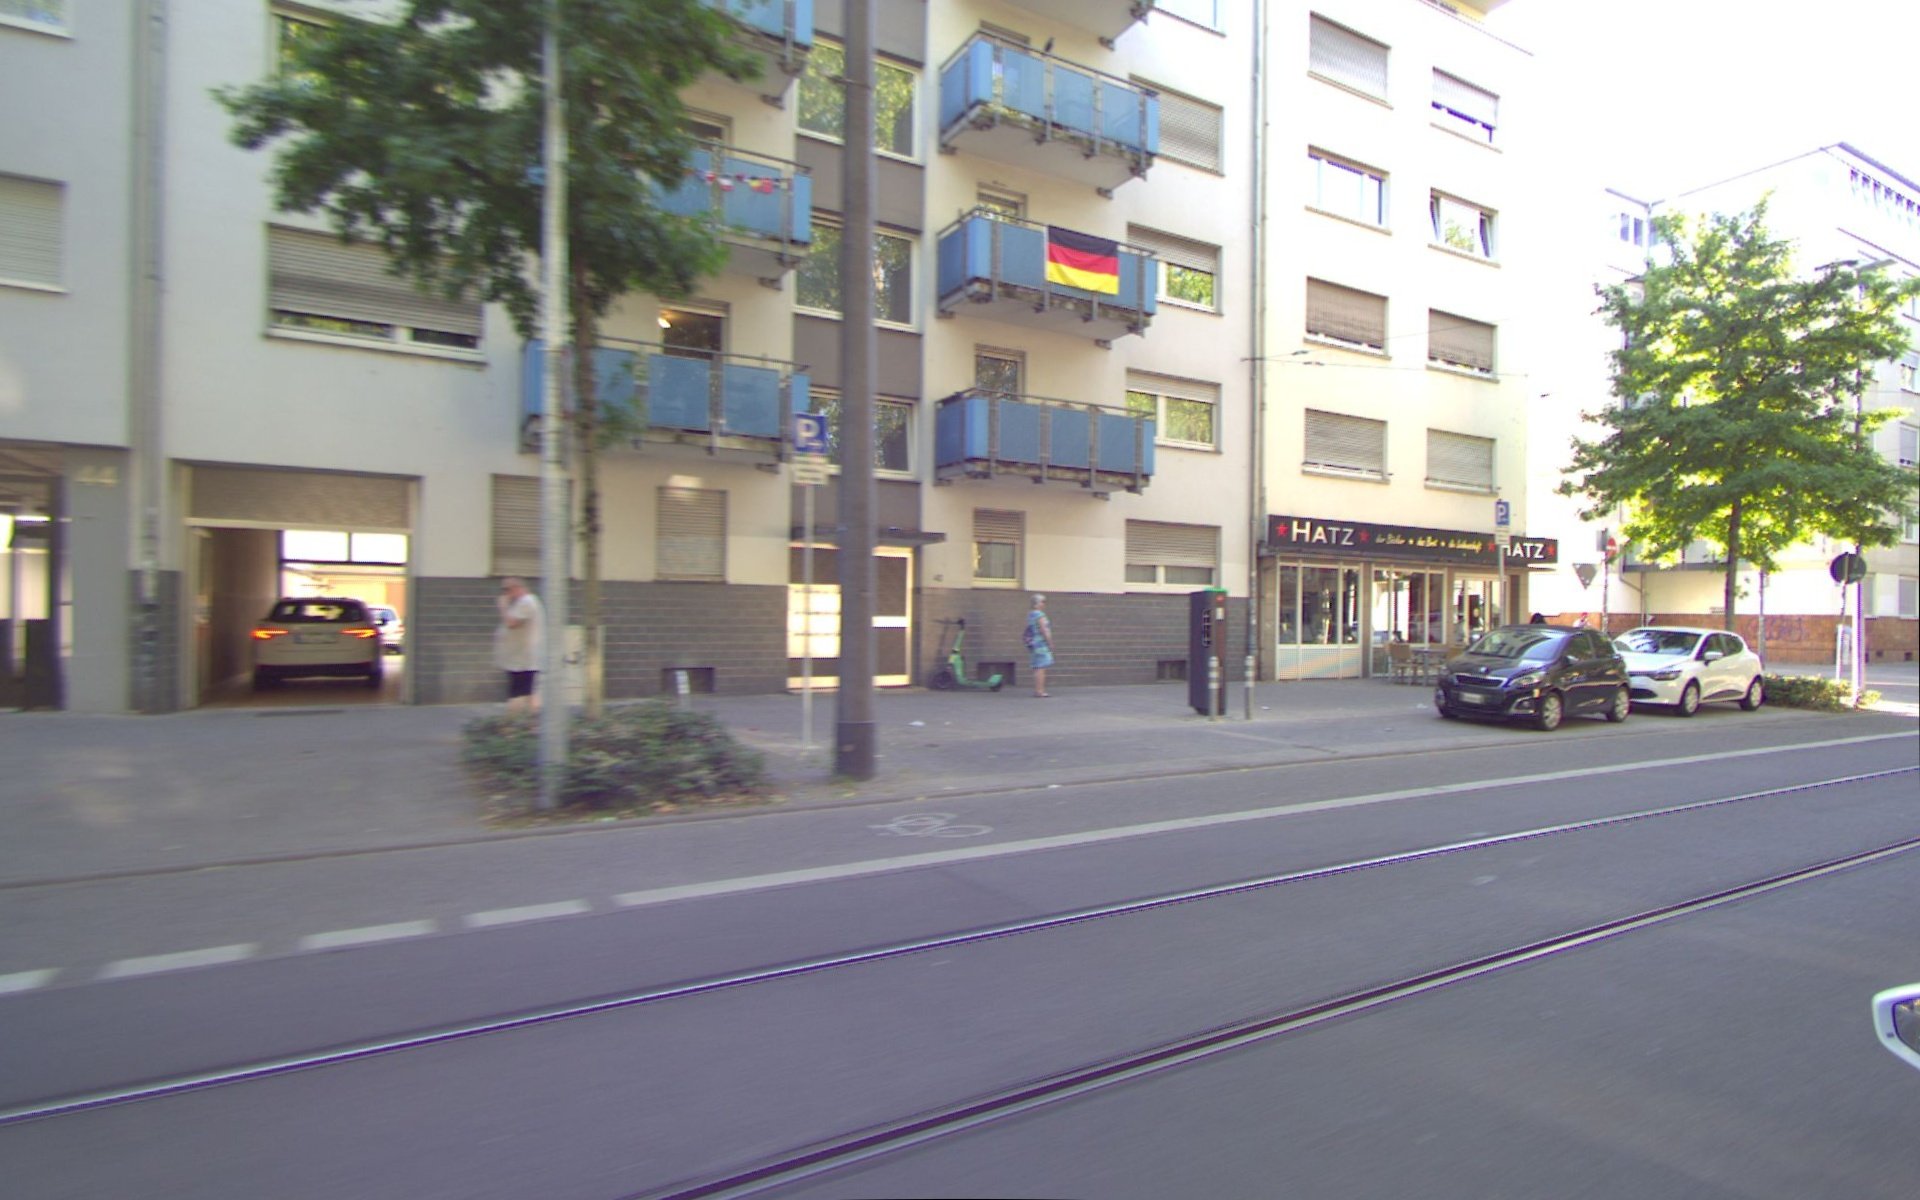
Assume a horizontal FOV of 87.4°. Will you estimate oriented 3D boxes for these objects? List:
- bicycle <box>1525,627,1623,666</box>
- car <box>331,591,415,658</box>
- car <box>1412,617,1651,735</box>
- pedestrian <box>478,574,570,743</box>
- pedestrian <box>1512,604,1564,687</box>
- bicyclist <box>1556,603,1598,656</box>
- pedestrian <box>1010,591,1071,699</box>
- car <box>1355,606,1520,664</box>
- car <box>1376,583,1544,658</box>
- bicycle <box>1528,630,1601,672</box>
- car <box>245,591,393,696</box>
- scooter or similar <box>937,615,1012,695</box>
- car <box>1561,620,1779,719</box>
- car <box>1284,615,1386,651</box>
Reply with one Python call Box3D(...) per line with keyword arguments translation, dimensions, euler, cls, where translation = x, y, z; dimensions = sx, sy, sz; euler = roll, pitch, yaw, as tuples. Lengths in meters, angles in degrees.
Box3D(translation=(20.622, 1.540, 33.820), dimensions=(0.909, 1.172, 2.786), euler=(1, 0, -26), cls="bicycle")
Box3D(translation=(-17.191, 0.708, 29.449), dimensions=(1.977, 1.806, 3.967), euler=(1, -1, -31), cls="car")
Box3D(translation=(8.869, 1.084, 15.485), dimensions=(3.963, 1.484, 1.700), euler=(1, 2, -37), cls="car")
Box3D(translation=(-4.634, 0.599, 10.668), dimensions=(0.785, 1.713, 0.760), euler=(1, -1, -31), cls="pedestrian")
Box3D(translation=(12.168, 0.948, 21.150), dimensions=(0.740, 1.713, 0.660), euler=(1, -1, -31), cls="pedestrian")
Box3D(translation=(20.706, 0.978, 33.708), dimensions=(0.896, 1.727, 0.868), euler=(1, 0, -27), cls="bicyclist")
Box3D(translation=(1.312, 0.724, 16.406), dimensions=(0.740, 1.713, 0.660), euler=(1, -1, -31), cls="pedestrian")
Box3D(translation=(16.399, 1.151, 34.723), dimensions=(2.017, 1.846, 4.846), euler=(1, -1, -33), cls="car")
Box3D(translation=(19.808, 0.787, 40.090), dimensions=(2.145, 2.759, 5.779), euler=(1, -1, -31), cls="car")
Box3D(translation=(17.415, 1.466, 28.988), dimensions=(0.562, 1.172, 1.945), euler=(0, -2, -15), cls="bicycle")
Box3D(translation=(-10.553, 0.637, 16.675), dimensions=(1.831, 1.495, 3.991), euler=(2, 0, -31), cls="car")
Box3D(translation=(0.242, 0.921, 16.812), dimensions=(1.219, 1.306, 0.374), euler=(1, -2, -23), cls="scooter or similar")
Box3D(translation=(12.753, 1.174, 17.972), dimensions=(4.331, 1.484, 1.702), euler=(2, 2, -34), cls="car")
Box3D(translation=(16.860, 1.460, 45.311), dimensions=(2.006, 1.519, 3.926), euler=(1, -1, -30), cls="car")
